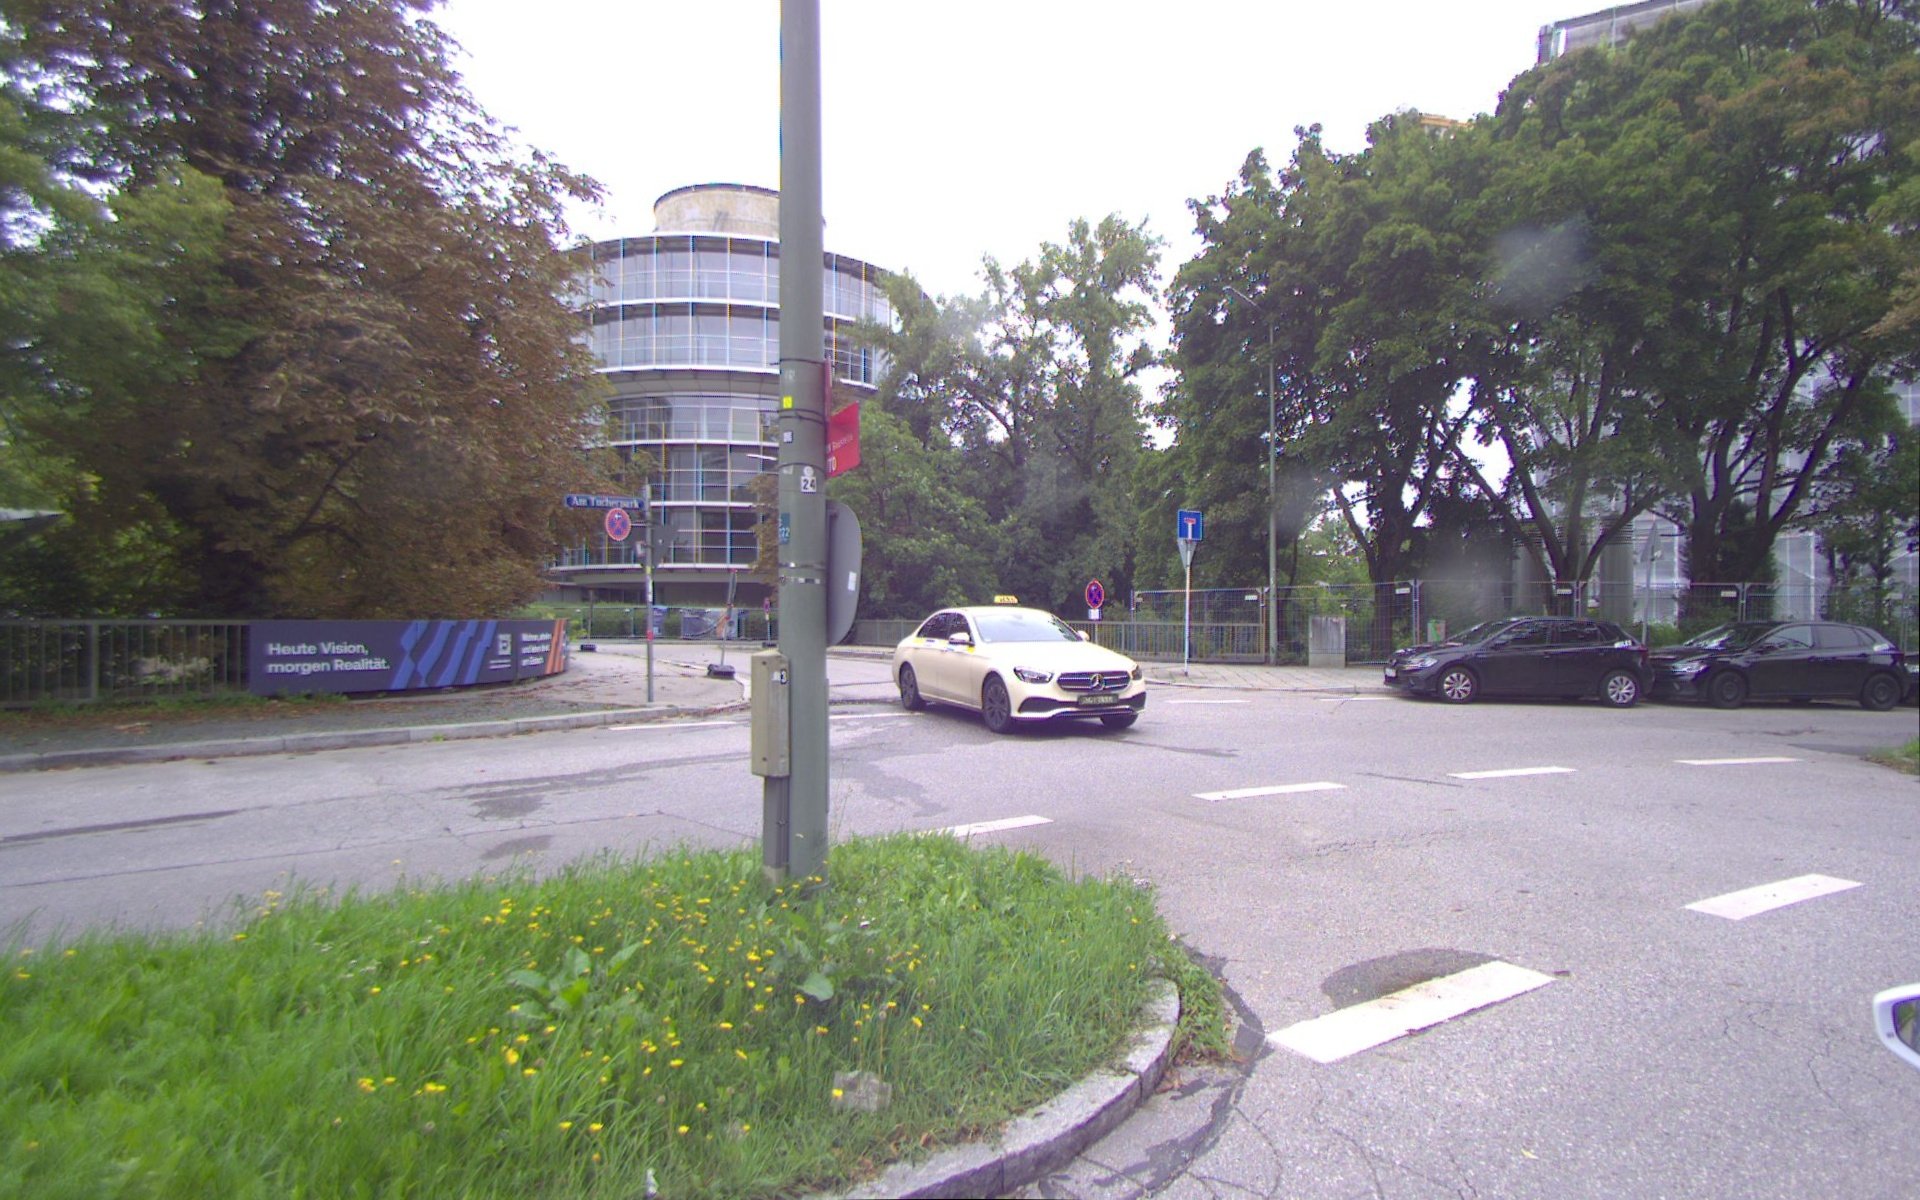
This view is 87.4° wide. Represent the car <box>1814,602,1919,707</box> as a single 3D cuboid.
[{"bbox_3d":[17.682,0.938,17.463,3.920,1.728,2.001,1,-1,2],"label":"car"}]

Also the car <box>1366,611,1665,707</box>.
[{"bbox_3d":[9.284,0.959,17.084,3.961,1.452,2.000,0,1,3],"label":"car"}]

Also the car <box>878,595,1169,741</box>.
[{"bbox_3d":[0.580,0.764,13.389,1.868,1.566,4.825,1,-1,-24],"label":"car"}]

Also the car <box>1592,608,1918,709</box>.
[{"bbox_3d":[13.311,0.952,17.038,3.920,1.561,2.001,0,-1,2],"label":"car"}]
